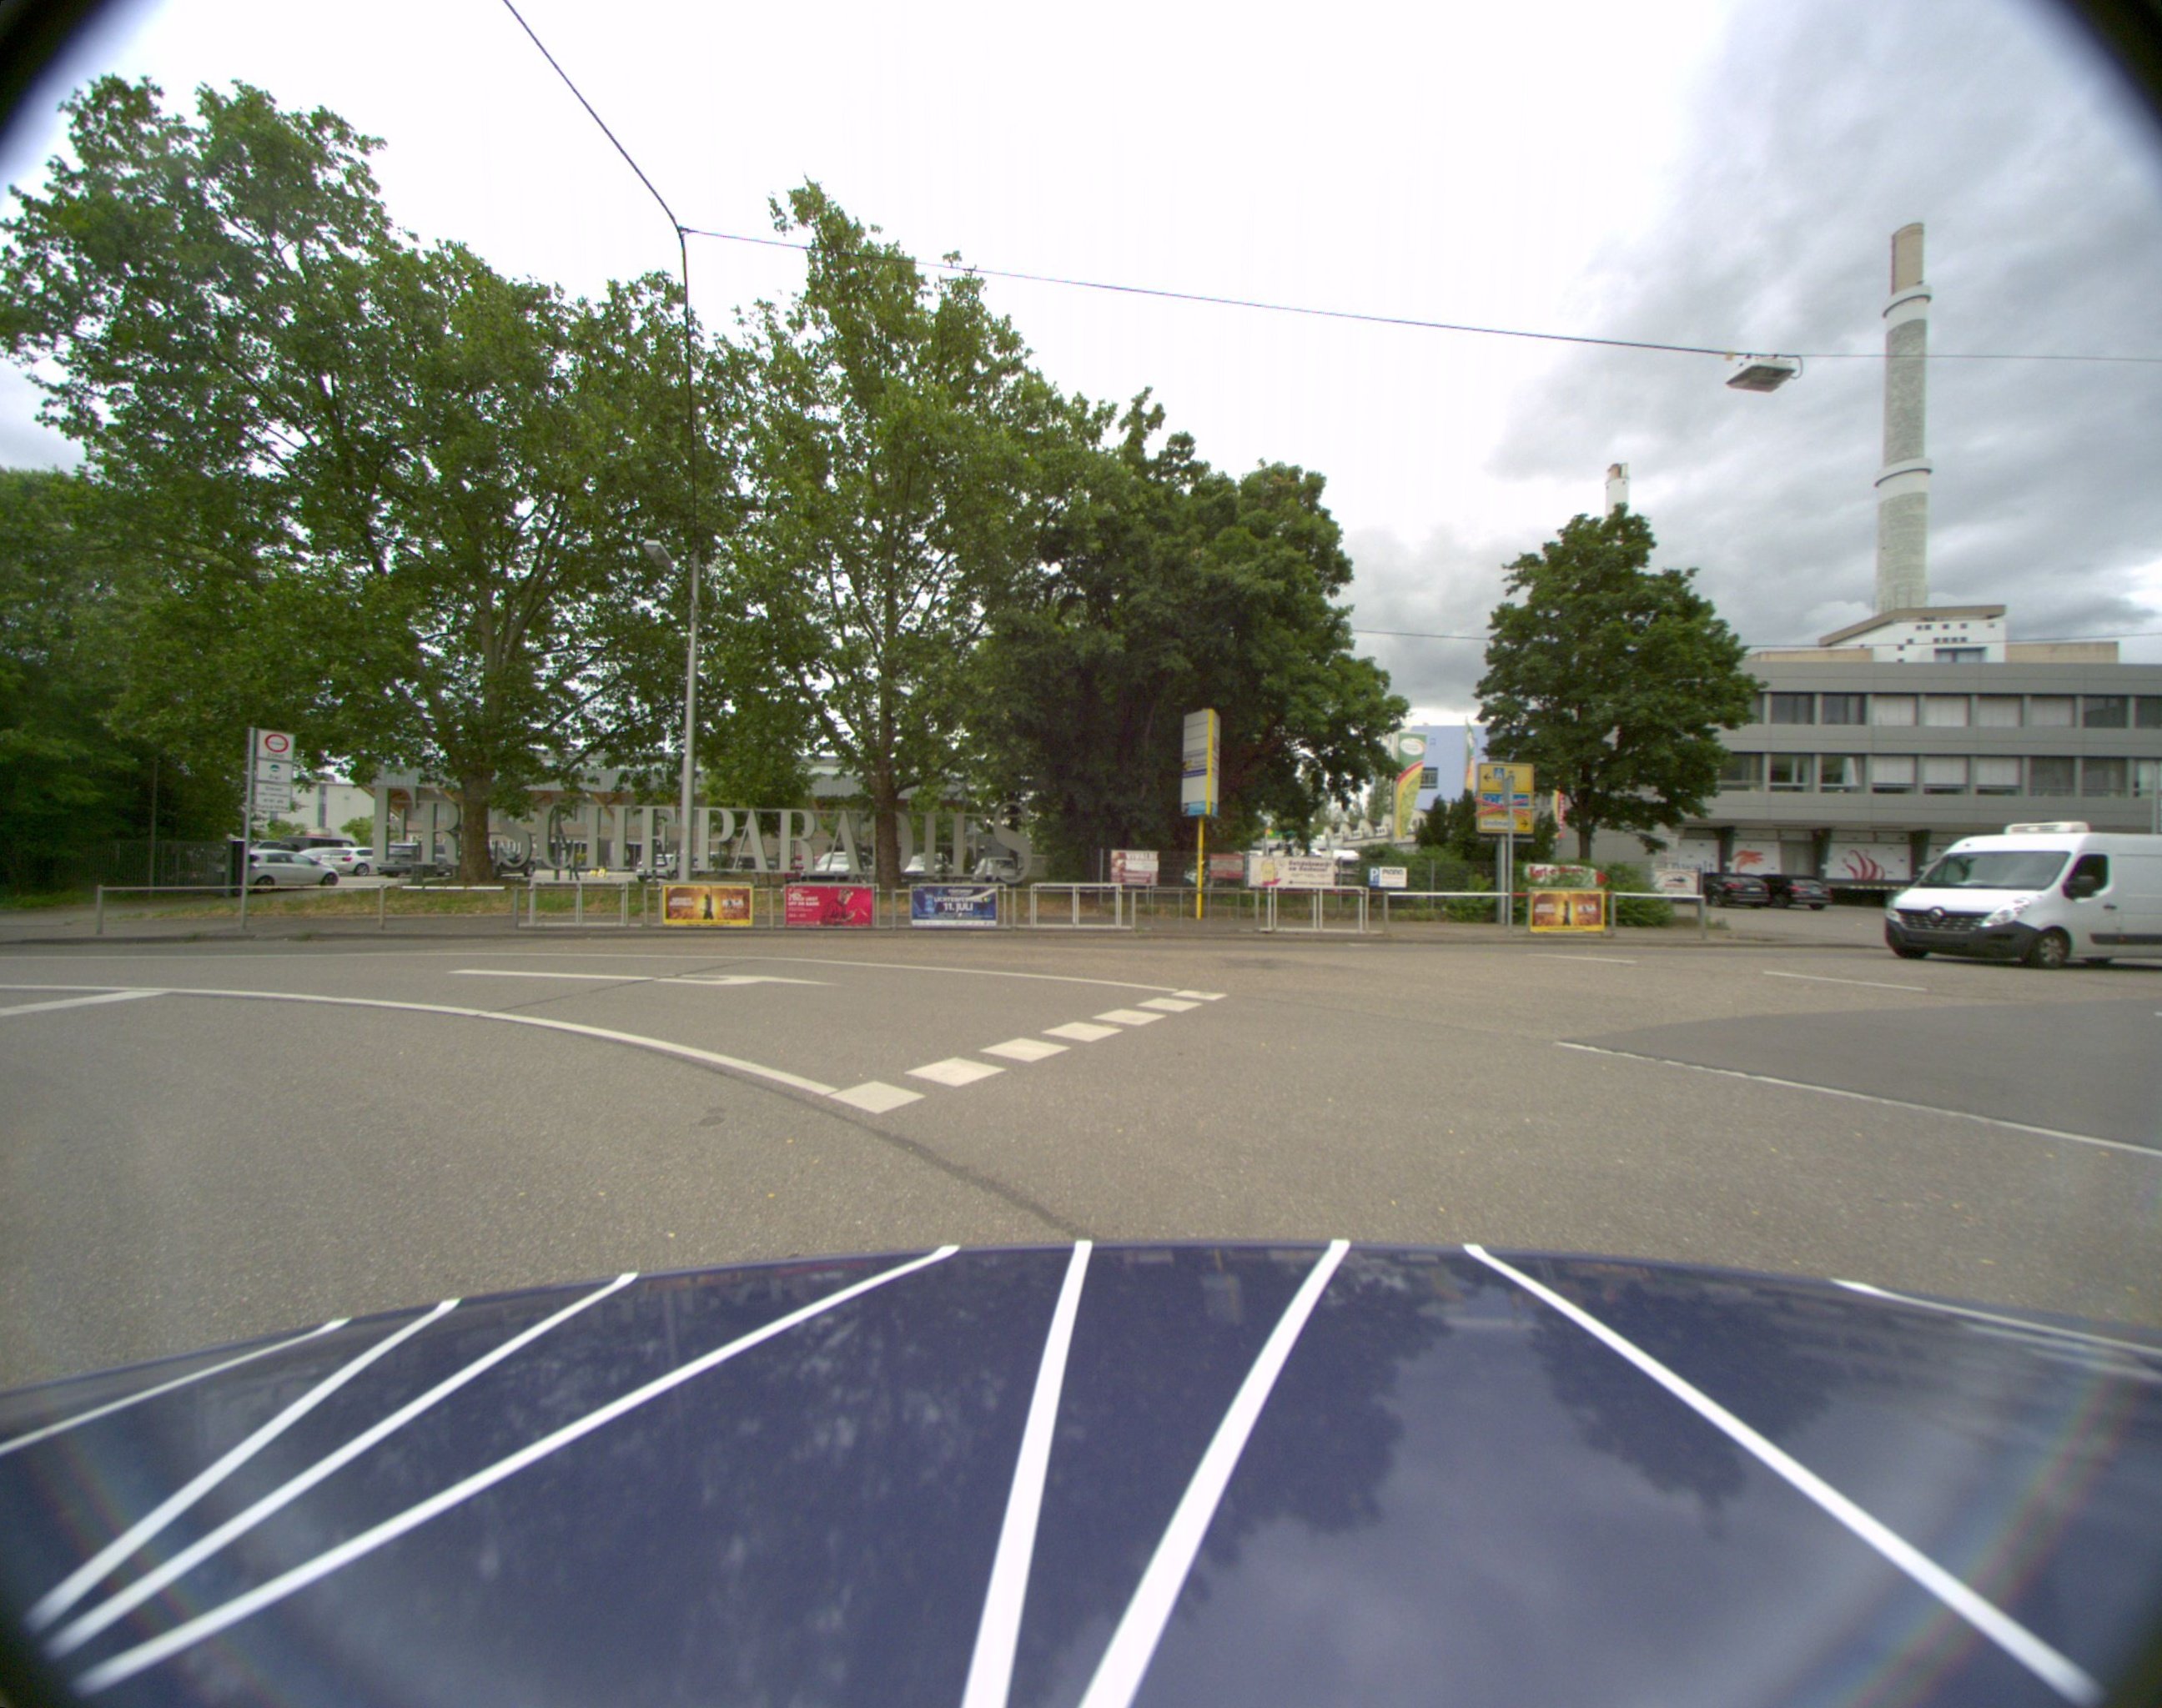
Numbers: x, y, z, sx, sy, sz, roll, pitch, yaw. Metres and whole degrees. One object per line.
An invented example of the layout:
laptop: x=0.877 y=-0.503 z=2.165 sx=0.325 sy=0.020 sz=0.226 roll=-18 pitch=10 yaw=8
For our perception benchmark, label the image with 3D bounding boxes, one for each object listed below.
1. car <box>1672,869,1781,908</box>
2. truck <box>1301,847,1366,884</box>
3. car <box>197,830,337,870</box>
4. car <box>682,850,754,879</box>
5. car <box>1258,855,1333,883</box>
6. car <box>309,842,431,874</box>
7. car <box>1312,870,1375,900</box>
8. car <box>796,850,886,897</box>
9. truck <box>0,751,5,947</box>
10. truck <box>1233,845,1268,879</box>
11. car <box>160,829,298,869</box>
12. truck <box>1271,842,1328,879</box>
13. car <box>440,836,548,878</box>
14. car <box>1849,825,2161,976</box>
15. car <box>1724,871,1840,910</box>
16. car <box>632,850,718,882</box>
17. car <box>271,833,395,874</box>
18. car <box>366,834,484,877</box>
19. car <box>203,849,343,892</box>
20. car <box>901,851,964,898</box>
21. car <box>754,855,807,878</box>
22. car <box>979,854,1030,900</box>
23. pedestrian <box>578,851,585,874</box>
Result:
car: x=31.677 y=1.649 z=37.481 sx=1.836 sy=1.608 sz=4.467 roll=2 pitch=0 yaw=6
truck: x=29.888 y=1.369 z=90.992 sx=2.849 sy=3.909 sz=15.733 roll=2 pitch=-1 yaw=2
car: x=-43.487 y=-0.165 z=40.798 sx=1.999 sy=1.986 sz=5.103 roll=1 pitch=-1 yaw=-1
car: x=-21.229 y=0.631 z=44.630 sx=1.999 sy=1.552 sz=4.641 roll=1 pitch=-1 yaw=-1
car: x=22.364 y=1.599 z=79.487 sx=7.146 sy=2.716 sz=2.245 roll=2 pitch=-1 yaw=4
car: x=-36.910 y=0.250 z=39.663 sx=1.999 sy=1.549 sz=4.641 roll=1 pitch=-1 yaw=-1
car: x=12.233 y=1.411 z=35.645 sx=1.708 sy=1.241 sz=3.702 roll=2 pitch=-1 yaw=1
car: x=-8.983 y=0.746 z=28.903 sx=1.883 sy=1.603 sz=4.527 roll=1 pitch=-2 yaw=1
truck: x=-24.523 y=-0.101 z=12.180 sx=10.414 sy=3.505 sz=2.798 roll=0 pitch=-1 yaw=-1
truck: x=22.174 y=1.052 z=99.998 sx=2.996 sy=4.141 sz=9.192 roll=1 pitch=-1 yaw=4
car: x=-45.964 y=-0.231 z=41.184 sx=1.999 sy=2.001 sz=4.824 roll=1 pitch=-1 yaw=-1
truck: x=25.902 y=0.869 z=90.959 sx=2.849 sy=3.909 sz=15.734 roll=2 pitch=-1 yaw=2
car: x=-30.331 y=0.202 z=39.454 sx=1.999 sy=2.001 sz=4.641 roll=1 pitch=-1 yaw=-1
car: x=18.015 y=0.849 z=13.942 sx=6.101 sy=2.444 sz=2.388 roll=1 pitch=-1 yaw=-9
car: x=34.382 y=1.739 z=37.463 sx=1.837 sy=1.608 sz=4.425 roll=2 pitch=0 yaw=5
car: x=-21.107 y=0.623 z=39.722 sx=1.999 sy=1.552 sz=4.641 roll=1 pitch=-1 yaw=-1
car: x=-39.682 y=0.018 z=40.480 sx=1.999 sy=2.001 sz=4.641 roll=1 pitch=-1 yaw=-1
car: x=-33.630 y=0.114 z=39.162 sx=1.999 sy=2.001 sz=4.641 roll=1 pitch=-1 yaw=-1
car: x=-30.557 y=0.628 z=28.909 sx=1.481 sy=1.495 sz=3.729 roll=1 pitch=-1 yaw=-4
car: x=-5.524 y=0.776 z=28.703 sx=1.591 sy=1.603 sz=4.318 roll=1 pitch=-2 yaw=-1
car: x=-21.847 y=0.923 z=55.448 sx=1.999 sy=1.552 sz=4.641 roll=1 pitch=-1 yaw=-1
car: x=-2.819 y=0.868 z=28.757 sx=1.591 sy=1.603 sz=4.001 roll=1 pitch=-2 yaw=-1
pedestrian: x=-37.760 y=0.637 z=57.470 sx=0.342 sy=1.754 sz=0.437 roll=2 pitch=-2 yaw=-23
